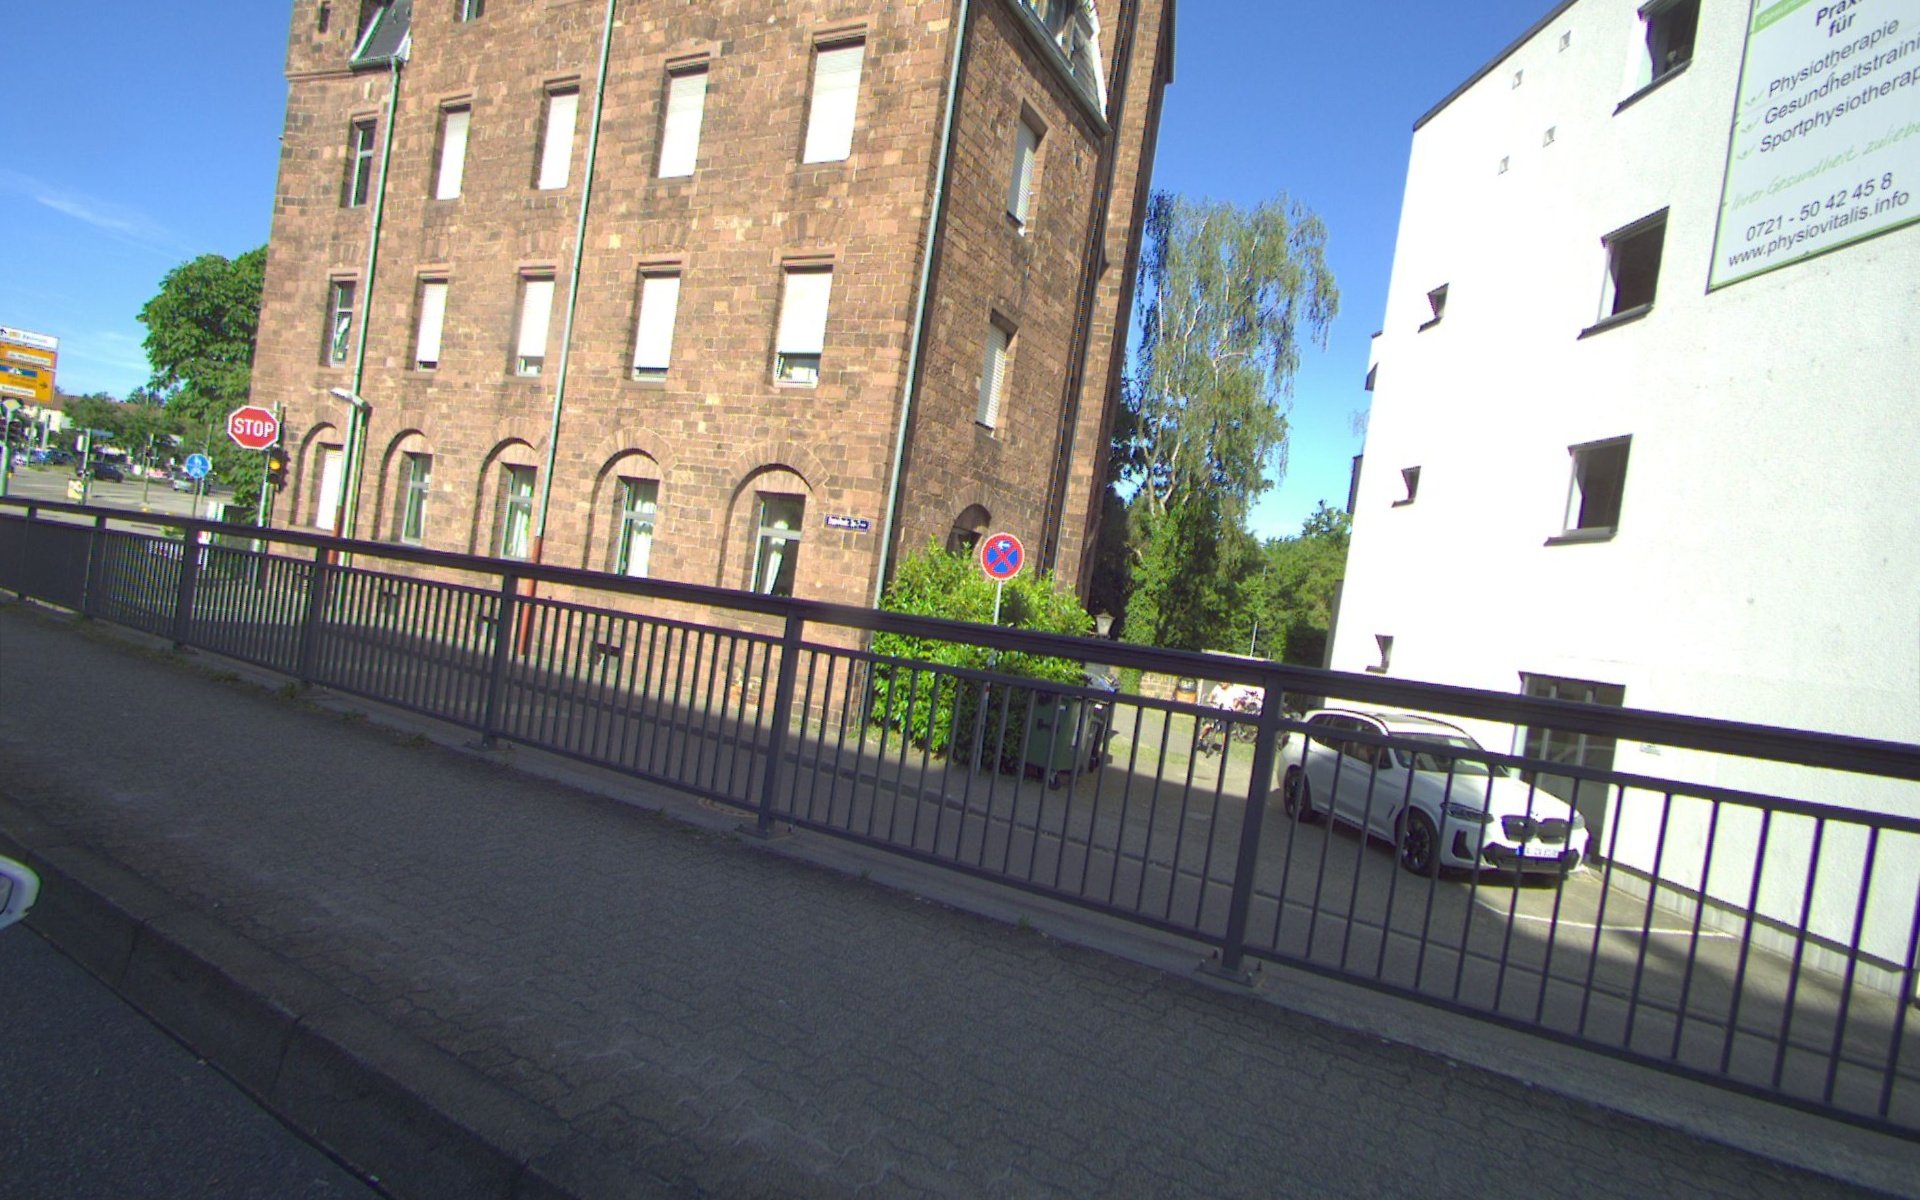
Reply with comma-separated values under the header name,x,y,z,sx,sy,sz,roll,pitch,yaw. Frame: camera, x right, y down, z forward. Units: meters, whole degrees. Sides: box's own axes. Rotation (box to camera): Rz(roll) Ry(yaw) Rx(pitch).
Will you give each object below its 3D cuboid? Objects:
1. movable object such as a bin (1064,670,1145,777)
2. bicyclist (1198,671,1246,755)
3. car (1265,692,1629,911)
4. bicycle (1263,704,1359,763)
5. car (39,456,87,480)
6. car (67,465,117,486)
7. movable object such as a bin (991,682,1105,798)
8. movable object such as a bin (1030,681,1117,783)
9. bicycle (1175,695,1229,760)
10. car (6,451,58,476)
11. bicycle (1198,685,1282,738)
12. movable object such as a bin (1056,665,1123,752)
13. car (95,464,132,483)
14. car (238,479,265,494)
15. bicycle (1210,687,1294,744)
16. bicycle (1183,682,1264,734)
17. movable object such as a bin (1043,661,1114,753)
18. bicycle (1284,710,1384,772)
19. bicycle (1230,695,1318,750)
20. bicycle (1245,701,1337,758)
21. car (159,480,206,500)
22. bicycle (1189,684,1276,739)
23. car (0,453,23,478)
name,x,y,z,sx,sy,sz,roll,pitch,yaw
movable object such as a bin,2.401,2.016,16.658,1.009,1.539,1.007,9,0,14
bicyclist,5.557,2.378,21.290,0.675,1.627,0.697,9,0,22
car,5.972,2.404,13.123,1.814,1.707,4.521,8,0,-9
bicycle,8.129,3.095,23.360,1.889,1.065,0.664,8,1,-6
car,-82.315,-12.091,92.343,1.860,1.598,3.978,8,1,-22
car,-69.994,-10.008,81.180,1.864,1.311,4.560,8,2,-27
movable object such as a bin,1.192,1.851,13.514,1.011,1.307,1.005,10,0,29
movable object such as a bin,1.760,1.999,15.477,1.009,1.307,1.007,10,0,14
bicycle,5.199,2.692,21.529,0.677,1.155,1.837,9,1,23
car,-79.896,-11.728,86.641,1.860,1.598,3.978,8,1,-22
bicycle,7.908,3.135,28.408,2.075,1.174,0.664,8,1,-9
movable object such as a bin,2.646,2.183,20.454,1.009,1.539,1.007,9,0,14
car,-94.129,-14.062,111.882,1.860,1.598,3.978,8,1,-22
car,-84.982,-13.588,120.769,1.765,1.375,4.051,8,2,-24
bicycle,7.668,3.026,26.443,1.889,1.174,0.664,8,1,-6
bicycle,7.664,3.137,29.261,2.075,1.174,0.664,8,1,-9
movable object such as a bin,2.285,2.017,19.264,1.009,1.539,1.007,9,0,14
bicycle,8.334,3.139,22.446,1.889,1.065,0.664,8,1,-6
bicycle,7.869,3.083,25.275,1.889,1.065,0.664,8,1,-6
bicycle,7.974,3.115,24.248,1.889,1.065,0.664,8,1,-6
car,-67.653,-9.566,87.571,1.974,1.311,4.567,8,2,-22
bicycle,7.406,3.028,27.376,2.075,1.174,0.664,8,1,-9
car,-61.663,-8.689,62.827,1.963,1.382,4.312,9,1,3
